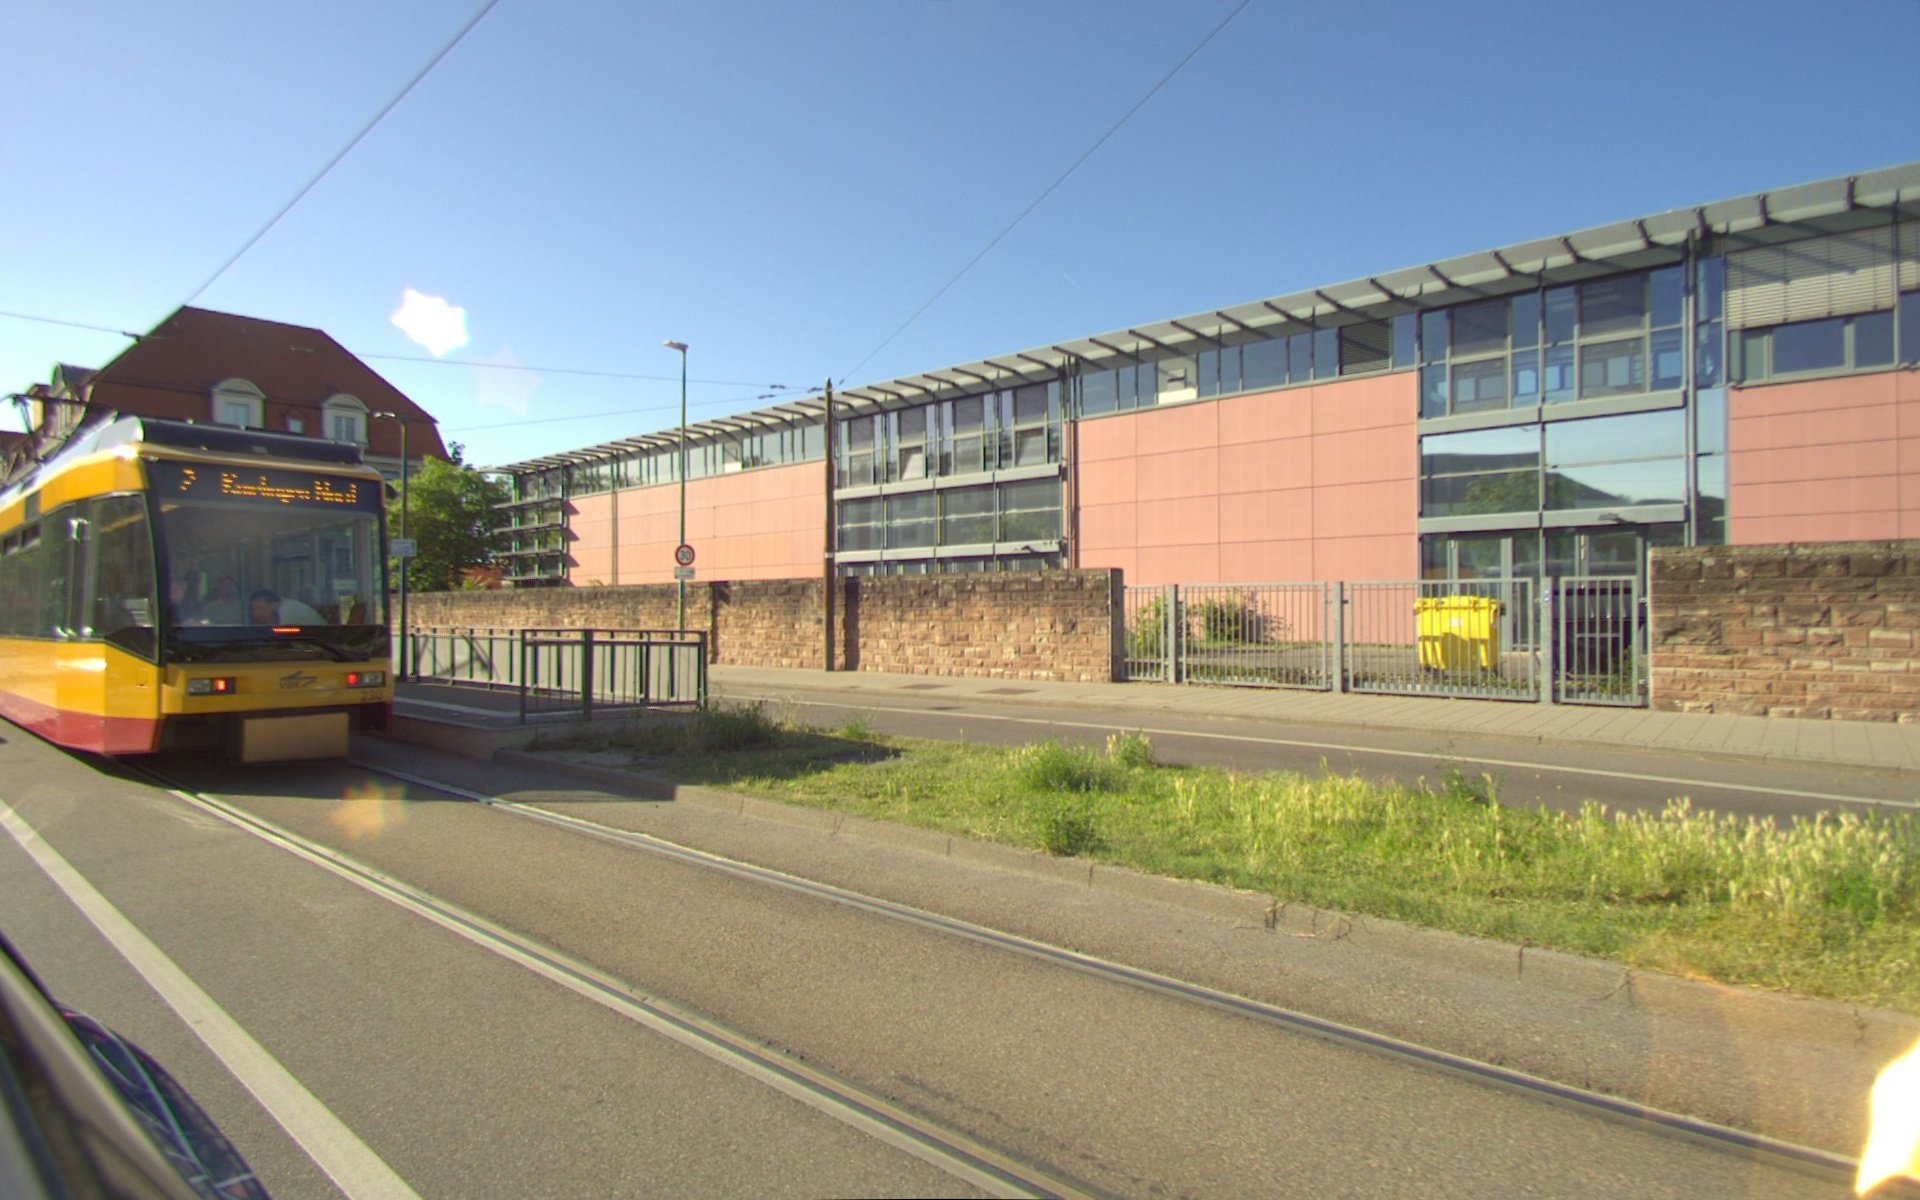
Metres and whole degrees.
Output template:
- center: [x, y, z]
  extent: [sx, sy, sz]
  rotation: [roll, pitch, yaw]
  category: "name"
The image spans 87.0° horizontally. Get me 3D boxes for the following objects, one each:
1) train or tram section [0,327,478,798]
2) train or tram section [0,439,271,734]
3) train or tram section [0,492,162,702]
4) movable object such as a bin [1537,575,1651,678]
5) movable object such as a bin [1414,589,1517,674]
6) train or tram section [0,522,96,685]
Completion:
- center: [-7.974, -0.231, 10.744]
  extent: [6.665, 3.486, 2.774]
  rotation: [-1, -1, 41]
  category: "train or tram section"
- center: [-12.935, -0.112, 15.148]
  extent: [6.665, 3.486, 2.774]
  rotation: [-1, -1, 41]
  category: "train or tram section"
- center: [-17.911, -0.001, 19.560]
  extent: [6.665, 3.486, 2.774]
  rotation: [-1, -1, 41]
  category: "train or tram section"
- center: [9.401, 0.389, 15.017]
  extent: [1.308, 1.458, 0.872]
  rotation: [-1, -1, 40]
  category: "movable object such as a bin"
- center: [8.084, 0.491, 16.182]
  extent: [1.308, 1.295, 0.872]
  rotation: [-1, -1, 40]
  category: "movable object such as a bin"
- center: [-22.881, 0.119, 23.966]
  extent: [6.665, 3.486, 2.774]
  rotation: [-1, -1, 41]
  category: "train or tram section"
